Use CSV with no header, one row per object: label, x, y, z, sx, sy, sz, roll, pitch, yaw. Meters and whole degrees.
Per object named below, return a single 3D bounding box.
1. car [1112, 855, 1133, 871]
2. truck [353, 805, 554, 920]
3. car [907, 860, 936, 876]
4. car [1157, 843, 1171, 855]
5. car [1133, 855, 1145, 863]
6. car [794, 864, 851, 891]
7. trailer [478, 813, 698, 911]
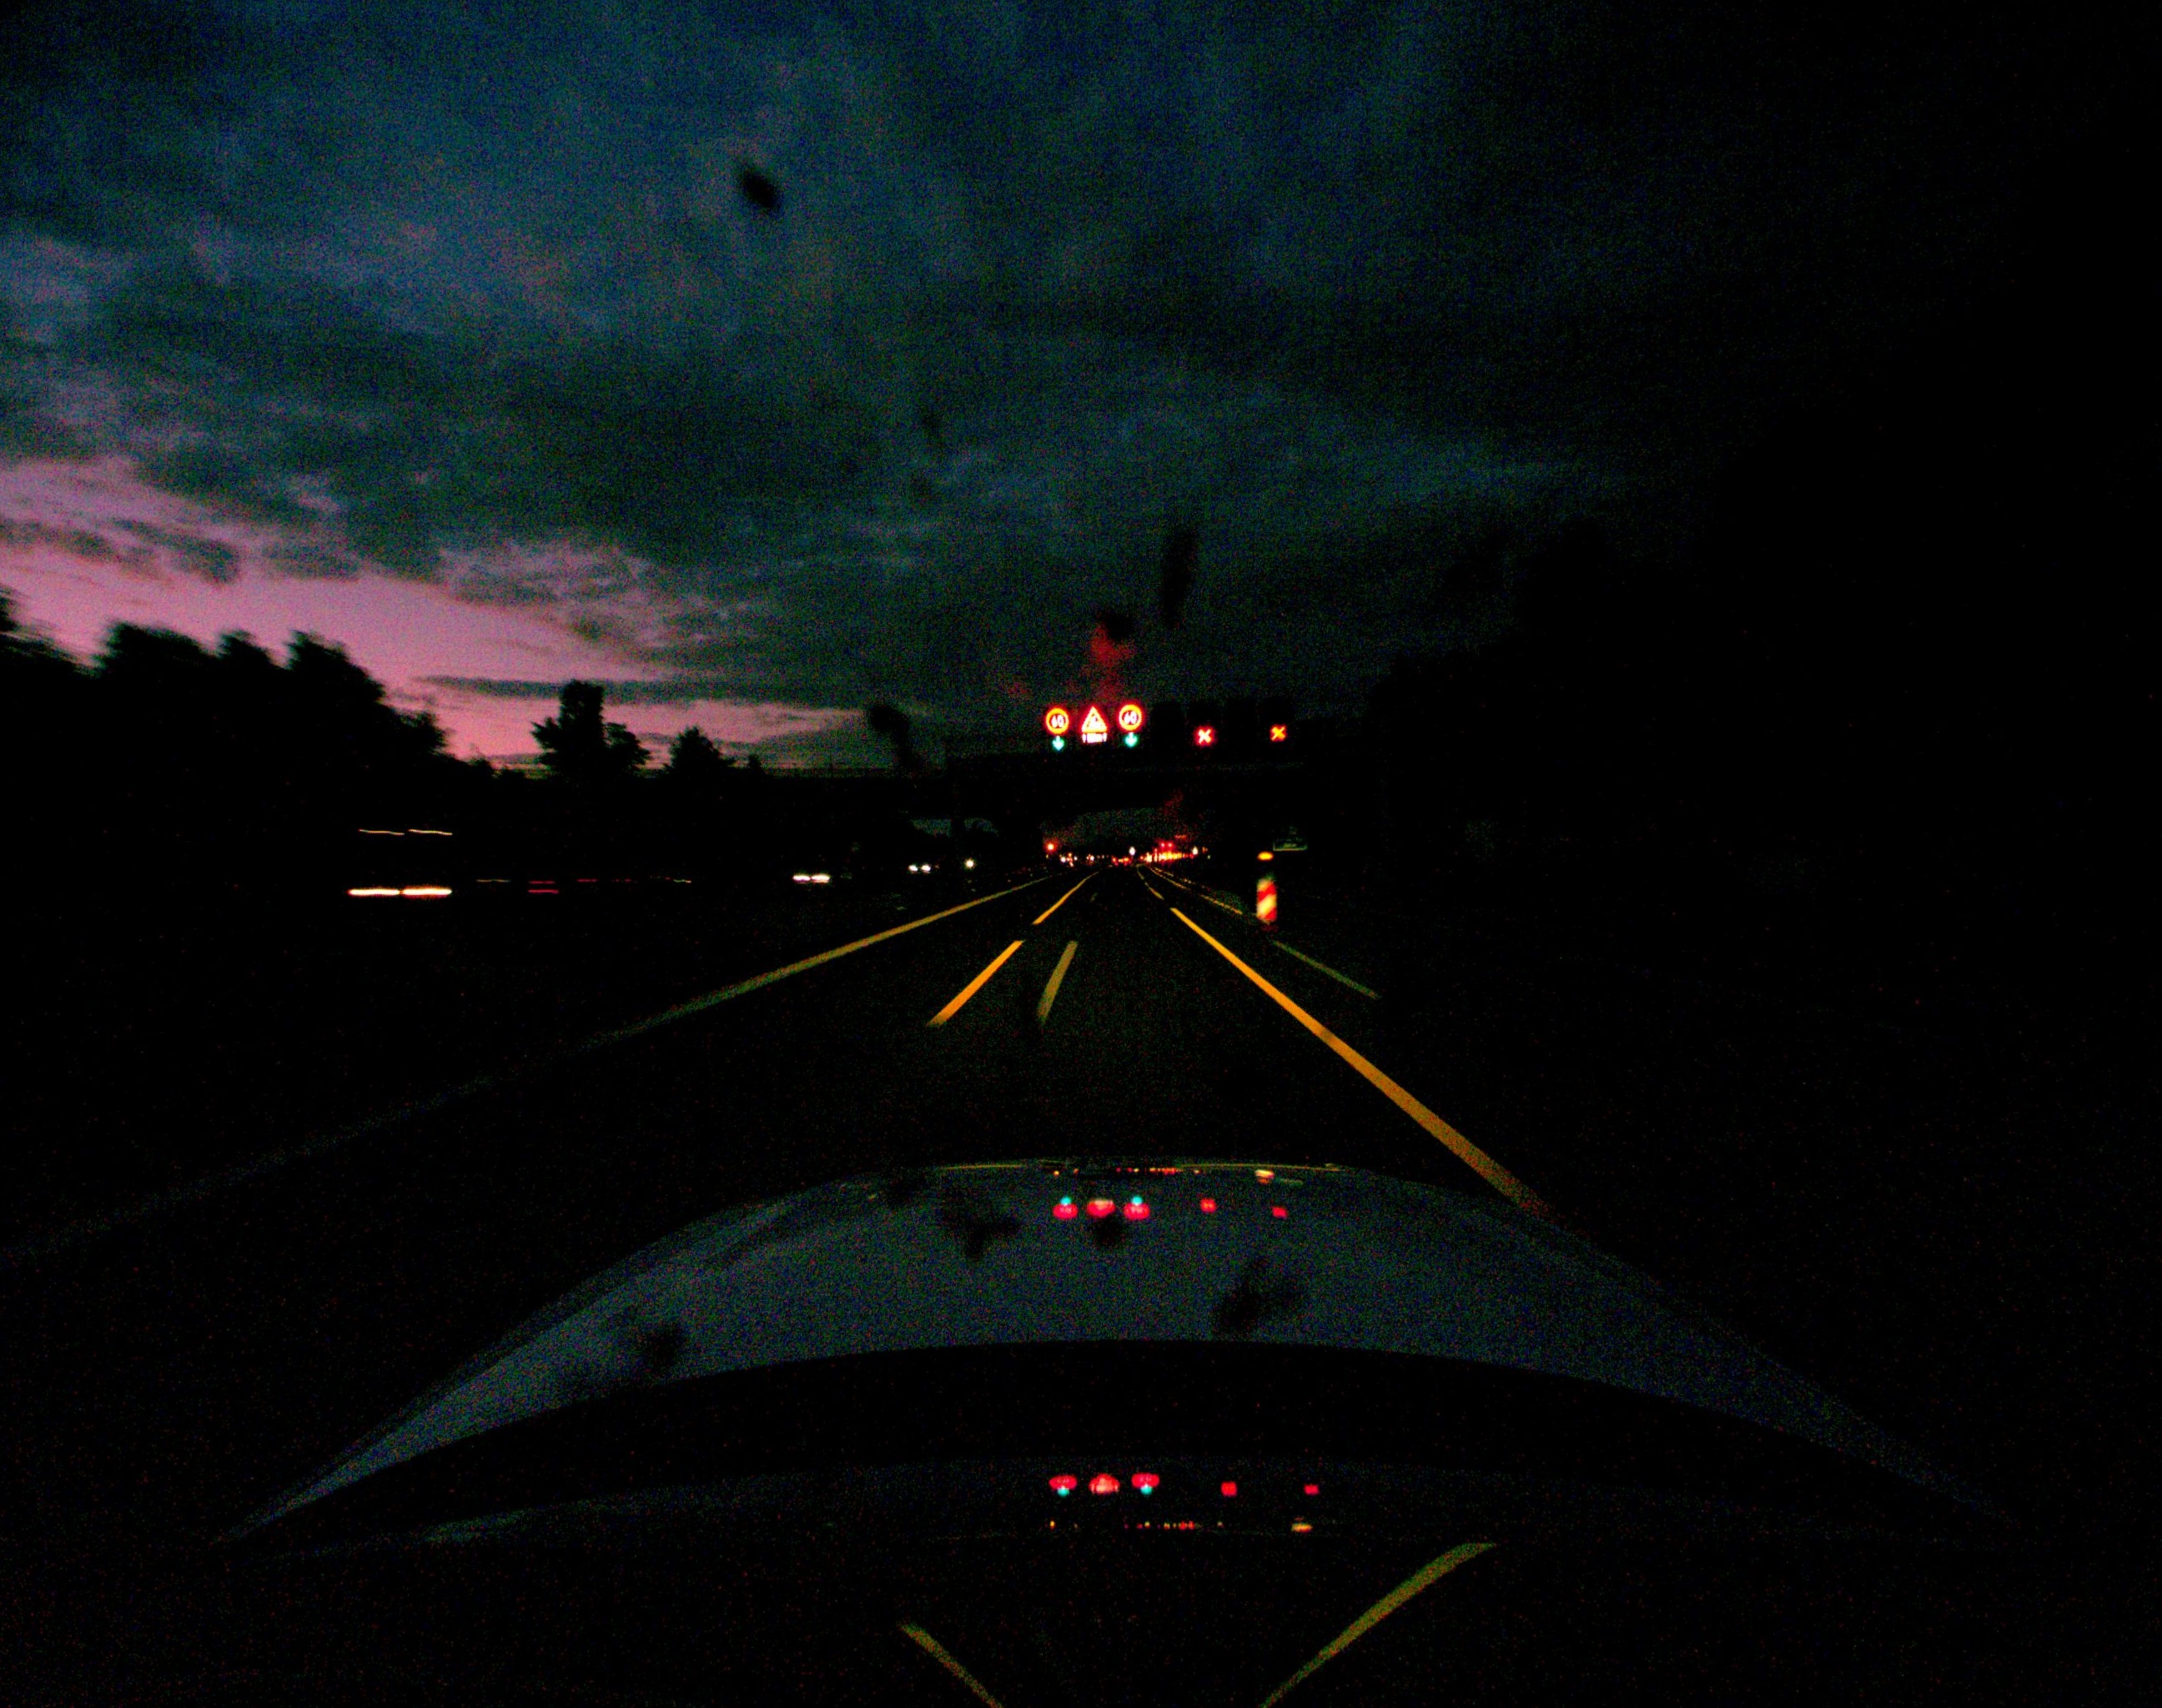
car,4.588,0.984,88.873,2.255,1.621,4.004,0,0,4
truck,-24.920,0.328,32.829,2.764,4.171,6.393,0,0,4
car,-16.999,1.492,86.942,1.985,1.674,4.585,0,0,2
car,23.478,-1.431,230.584,3.592,3.396,8.016,0,0,2
car,10.657,0.965,149.308,1.962,1.437,4.006,0,0,5
car,-17.131,1.531,54.203,1.984,1.675,4.520,0,0,4
trailer,-24.216,0.370,41.366,2.766,4.206,12.416,0,0,4
